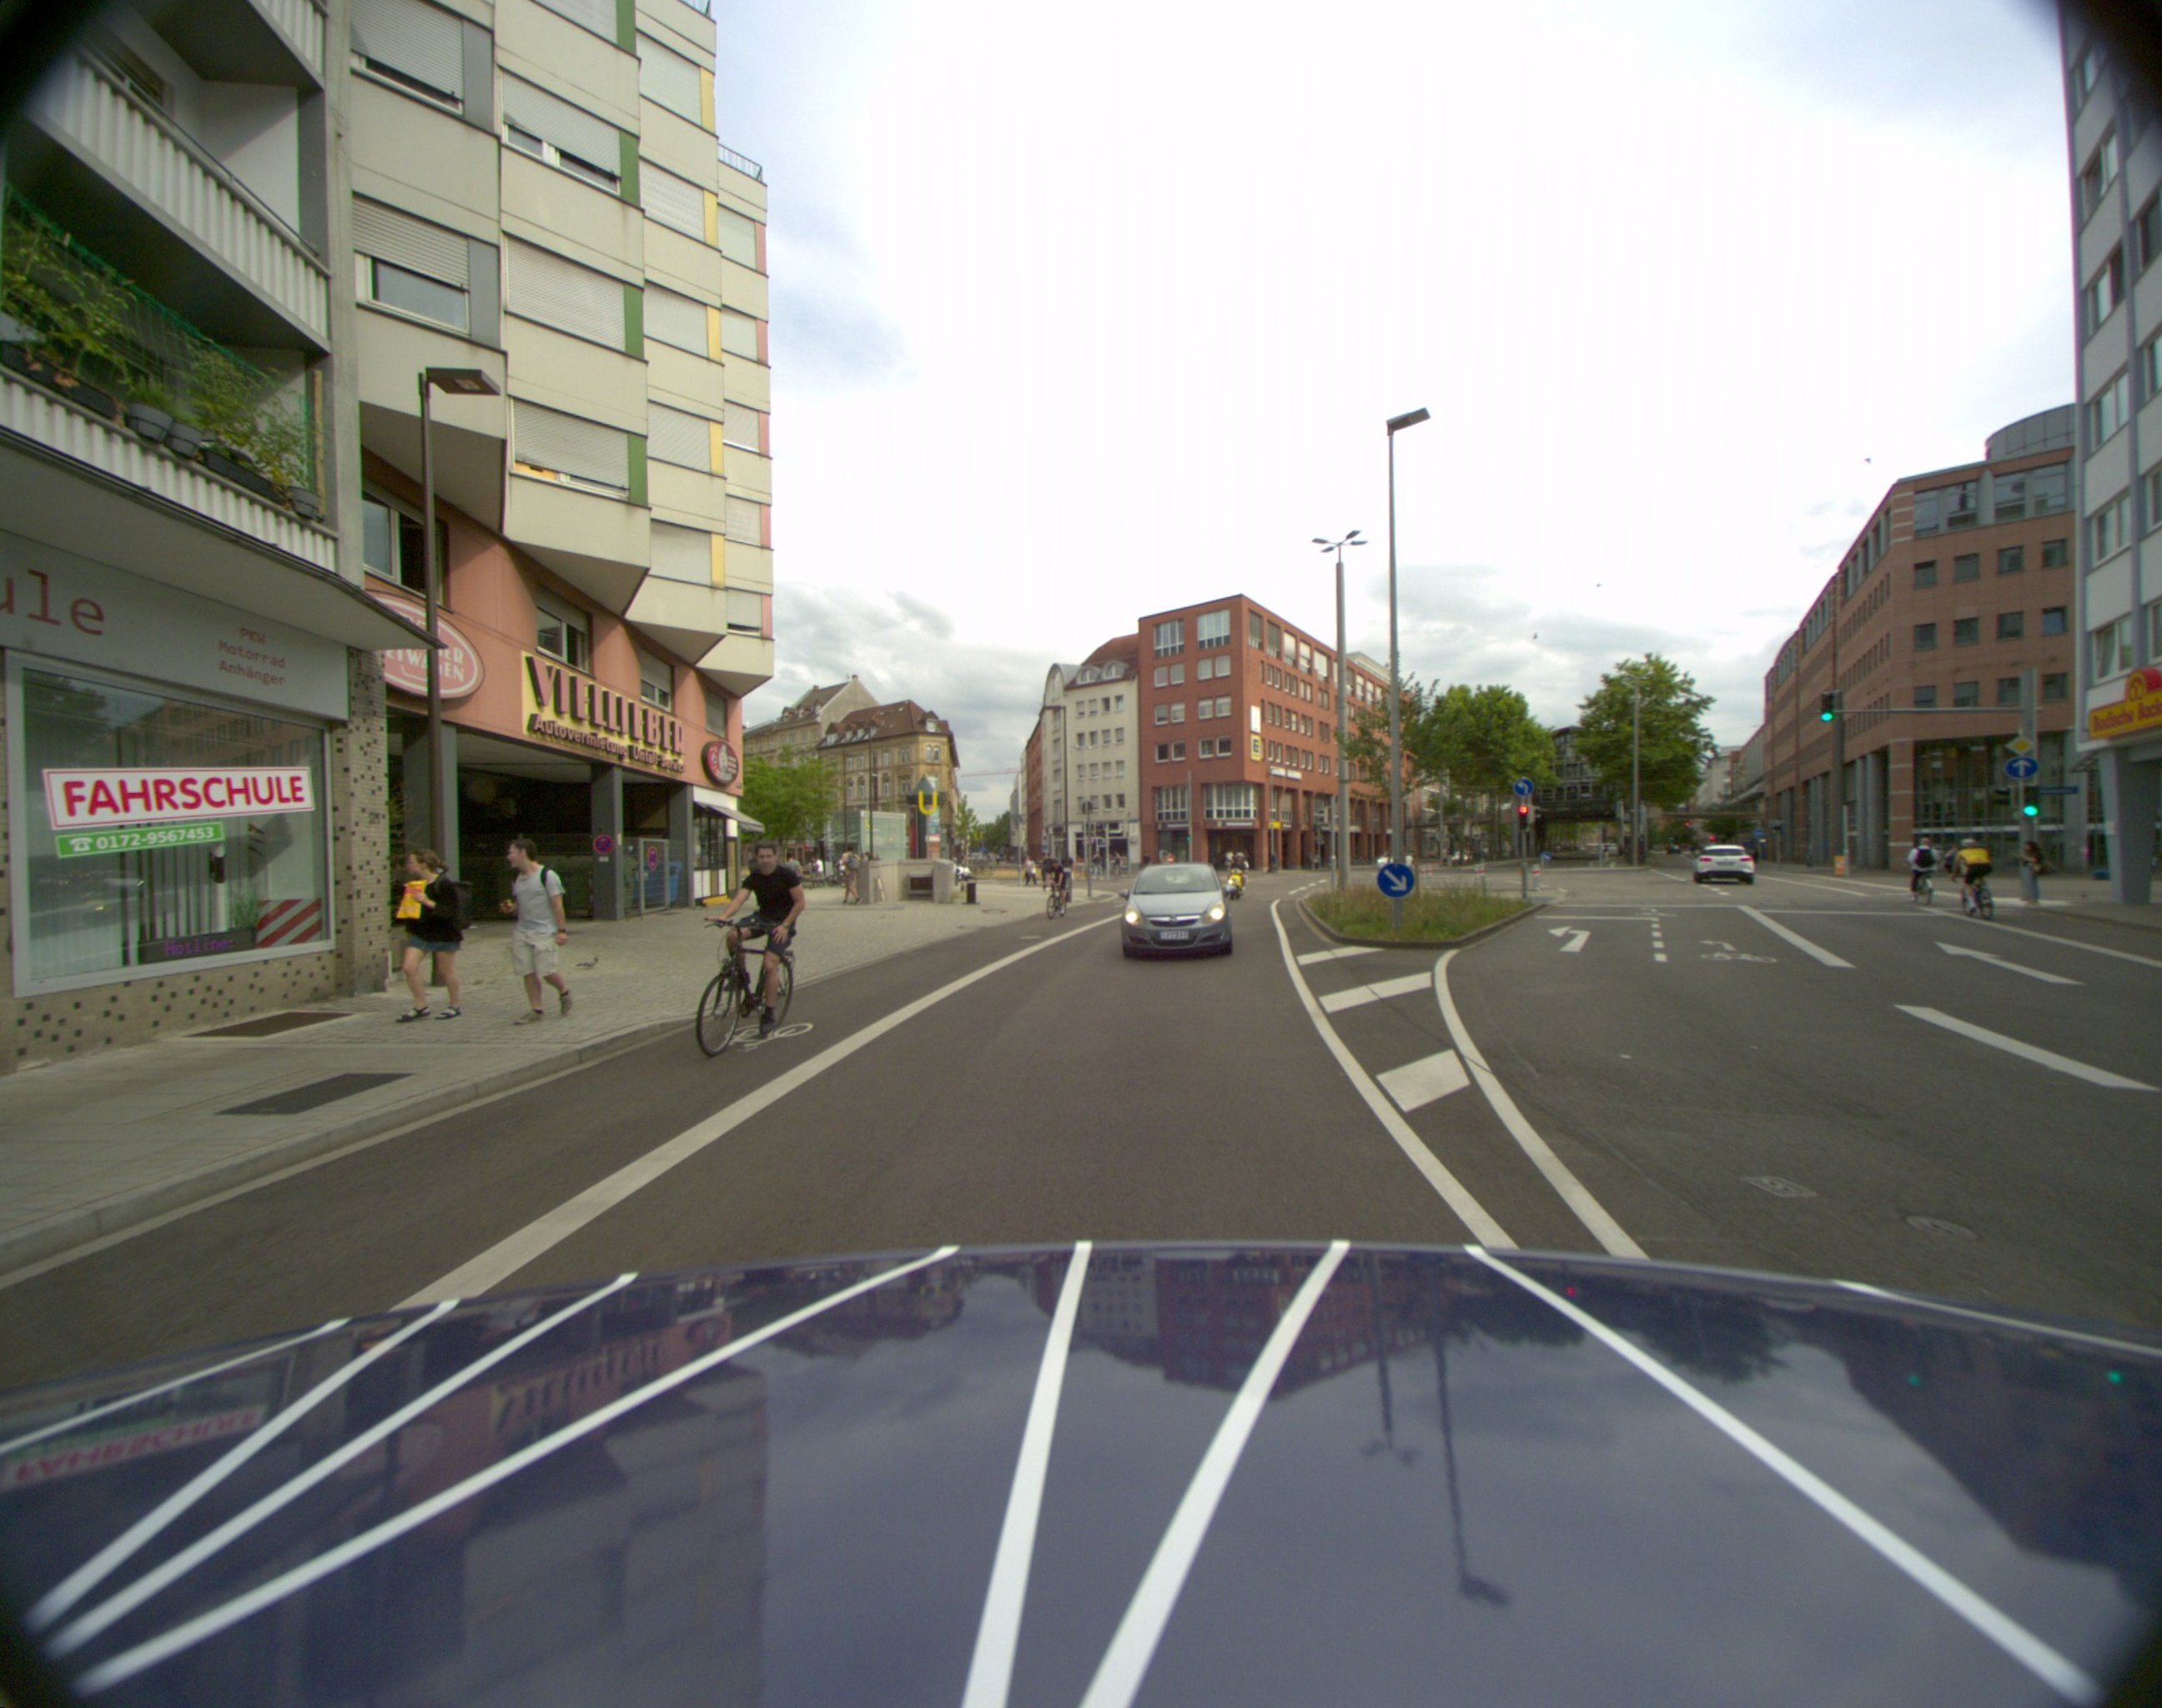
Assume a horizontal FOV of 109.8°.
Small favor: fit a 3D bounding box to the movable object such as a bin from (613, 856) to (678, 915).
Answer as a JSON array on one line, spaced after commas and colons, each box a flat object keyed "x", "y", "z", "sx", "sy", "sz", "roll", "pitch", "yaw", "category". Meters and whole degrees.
[{"x": -11.669, "y": 0.817, "z": 20.403, "sx": 1.147, "sy": 1.507, "sz": 1.087, "roll": -1, "pitch": 1, "yaw": -9, "category": "movable object such as a bin"}]

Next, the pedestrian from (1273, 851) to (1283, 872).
[{"x": 16.063, "y": 0.588, "z": 61.972, "sx": 0.639, "sy": 1.677, "sz": 0.601, "roll": 0, "pitch": 0, "yaw": 37, "category": "pedestrian"}]

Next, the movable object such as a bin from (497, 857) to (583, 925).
[{"x": -12.582, "y": 0.832, "z": 17.732, "sx": 1.197, "sy": 1.507, "sz": 1.196, "roll": -1, "pitch": 1, "yaw": -9, "category": "movable object such as a bin"}]

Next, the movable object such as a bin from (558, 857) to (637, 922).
[{"x": -11.374, "y": 0.814, "z": 17.939, "sx": 1.149, "sy": 1.452, "sz": 1.223, "roll": -1, "pitch": 1, "yaw": -9, "category": "movable object such as a bin"}]

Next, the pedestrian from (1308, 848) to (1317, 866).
[{"x": 21.181, "y": 0.278, "z": 69.549, "sx": 0.646, "sy": 1.686, "sz": 0.699, "roll": 1, "pitch": 2, "yaw": 35, "category": "pedestrian"}]

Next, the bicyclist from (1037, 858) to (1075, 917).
[{"x": -0.700, "y": 0.942, "z": 21.480, "sx": 0.612, "sy": 1.594, "sz": 0.848, "roll": -3, "pitch": 0, "yaw": 31, "category": "bicyclist"}]

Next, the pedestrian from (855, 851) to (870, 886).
[{"x": -11.645, "y": 0.752, "z": 40.486, "sx": 0.489, "sy": 1.856, "sz": 0.586, "roll": 0, "pitch": 0, "yaw": 33, "category": "pedestrian"}]

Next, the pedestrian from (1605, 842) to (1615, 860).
[{"x": 45.907, "y": -0.264, "z": 65.964, "sx": 0.657, "sy": 1.529, "sz": 0.559, "roll": -1, "pitch": 3, "yaw": 33, "category": "pedestrian"}]

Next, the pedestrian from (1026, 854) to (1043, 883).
[{"x": -2.708, "y": 0.851, "z": 44.423, "sx": 0.633, "sy": 1.685, "sz": 0.708, "roll": 0, "pitch": 0, "yaw": 38, "category": "pedestrian"}]

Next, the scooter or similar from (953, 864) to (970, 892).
[{"x": -5.247, "y": 1.057, "z": 33.473, "sx": 0.286, "sy": 1.205, "sz": 1.127, "roll": -1, "pitch": 1, "yaw": 14, "category": "scooter or similar"}]

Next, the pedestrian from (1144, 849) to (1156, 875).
[{"x": 4.883, "y": 0.593, "z": 53.609, "sx": 0.567, "sy": 1.813, "sz": 0.697, "roll": 0, "pitch": 0, "yaw": 37, "category": "pedestrian"}]

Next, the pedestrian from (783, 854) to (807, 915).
[{"x": -7.938, "y": 0.829, "z": 21.091, "sx": 0.474, "sy": 1.663, "sz": 0.589, "roll": 2, "pitch": 0, "yaw": -7, "category": "pedestrian"}]

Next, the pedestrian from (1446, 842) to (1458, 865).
[{"x": 30.384, "y": -0.004, "z": 62.187, "sx": 0.692, "sy": 1.864, "sz": 0.808, "roll": 0, "pitch": 1, "yaw": 38, "category": "pedestrian"}]

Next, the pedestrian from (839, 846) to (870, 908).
[{"x": -6.977, "y": 0.684, "z": 23.449, "sx": 0.658, "sy": 1.841, "sz": 0.971, "roll": 2, "pitch": 1, "yaw": -4, "category": "pedestrian"}]

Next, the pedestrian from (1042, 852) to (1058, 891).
[{"x": -1.438, "y": 0.796, "z": 35.677, "sx": 0.676, "sy": 1.789, "sz": 0.886, "roll": 1, "pitch": 0, "yaw": -1, "category": "pedestrian"}]

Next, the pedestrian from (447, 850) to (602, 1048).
[{"x": -5.238, "y": 0.862, "z": 7.213, "sx": 0.753, "sy": 1.739, "sz": 0.859, "roll": 2, "pitch": -1, "yaw": -1, "category": "pedestrian"}]

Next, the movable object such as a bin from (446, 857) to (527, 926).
[{"x": -13.692, "y": 0.845, "z": 17.549, "sx": 1.005, "sy": 1.507, "sz": 1.167, "roll": -1, "pitch": 1, "yaw": -9, "category": "movable object such as a bin"}]

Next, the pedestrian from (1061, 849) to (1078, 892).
[{"x": -0.523, "y": 0.764, "z": 35.726, "sx": 0.720, "sy": 1.959, "sz": 1.014, "roll": 1, "pitch": 0, "yaw": 1, "category": "pedestrian"}]

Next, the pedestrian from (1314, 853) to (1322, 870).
[{"x": 22.197, "y": 0.698, "z": 71.046, "sx": 0.406, "sy": 1.623, "sz": 0.733, "roll": 2, "pitch": 3, "yaw": 45, "category": "pedestrian"}]

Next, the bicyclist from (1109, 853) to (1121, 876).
[{"x": 2.353, "y": 0.718, "z": 53.026, "sx": 0.745, "sy": 1.550, "sz": 0.946, "roll": -1, "pitch": 0, "yaw": -1, "category": "bicyclist"}]

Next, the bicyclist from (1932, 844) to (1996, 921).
[{"x": 19.461, "y": 0.611, "z": 16.763, "sx": 0.712, "sy": 1.640, "sz": 0.973, "roll": 0, "pitch": 1, "yaw": 36, "category": "bicyclist"}]

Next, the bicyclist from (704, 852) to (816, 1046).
[{"x": -2.963, "y": 0.833, "z": 7.088, "sx": 0.559, "sy": 1.699, "sz": 0.863, "roll": -1, "pitch": 1, "yaw": 8, "category": "bicyclist"}]

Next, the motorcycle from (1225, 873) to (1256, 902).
[{"x": 5.879, "y": 1.207, "z": 27.938, "sx": 0.569, "sy": 0.962, "sz": 2.018, "roll": -1, "pitch": 0, "yaw": 28, "category": "motorcycle"}]

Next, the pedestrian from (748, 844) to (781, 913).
[{"x": -8.808, "y": 0.680, "z": 21.168, "sx": 0.674, "sy": 1.892, "sz": 0.589, "roll": 2, "pitch": 0, "yaw": -7, "category": "pedestrian"}]

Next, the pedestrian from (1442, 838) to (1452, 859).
[{"x": 31.135, "y": -0.502, "z": 64.710, "sx": 0.578, "sy": 1.781, "sz": 0.534, "roll": -1, "pitch": 1, "yaw": -33, "category": "pedestrian"}]

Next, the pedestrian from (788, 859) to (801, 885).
[{"x": -18.227, "y": 1.115, "z": 48.387, "sx": 0.676, "sy": 1.631, "sz": 0.440, "roll": 0, "pitch": 1, "yaw": 37, "category": "pedestrian"}]

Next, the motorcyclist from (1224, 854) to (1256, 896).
[{"x": 5.842, "y": 0.769, "z": 27.928, "sx": 0.870, "sy": 1.508, "sz": 1.045, "roll": -1, "pitch": 1, "yaw": 27, "category": "motorcyclist"}]

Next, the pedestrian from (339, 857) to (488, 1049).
[{"x": -6.211, "y": 0.877, "z": 7.129, "sx": 0.606, "sy": 1.659, "sz": 0.943, "roll": 2, "pitch": 1, "yaw": -9, "category": "pedestrian"}]

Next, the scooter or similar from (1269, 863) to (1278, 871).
[{"x": 15.561, "y": 1.047, "z": 61.386, "sx": 0.507, "sy": 0.570, "sz": 0.817, "roll": -1, "pitch": 1, "yaw": 30, "category": "scooter or similar"}]

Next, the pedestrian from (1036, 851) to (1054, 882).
[{"x": -2.127, "y": 0.729, "z": 45.488, "sx": 0.639, "sy": 1.843, "sz": 0.879, "roll": 0, "pitch": 0, "yaw": 37, "category": "pedestrian"}]

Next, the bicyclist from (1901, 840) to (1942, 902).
[{"x": 22.835, "y": 0.435, "z": 20.647, "sx": 0.608, "sy": 1.636, "sz": 1.039, "roll": 0, "pitch": 1, "yaw": 40, "category": "bicyclist"}]
